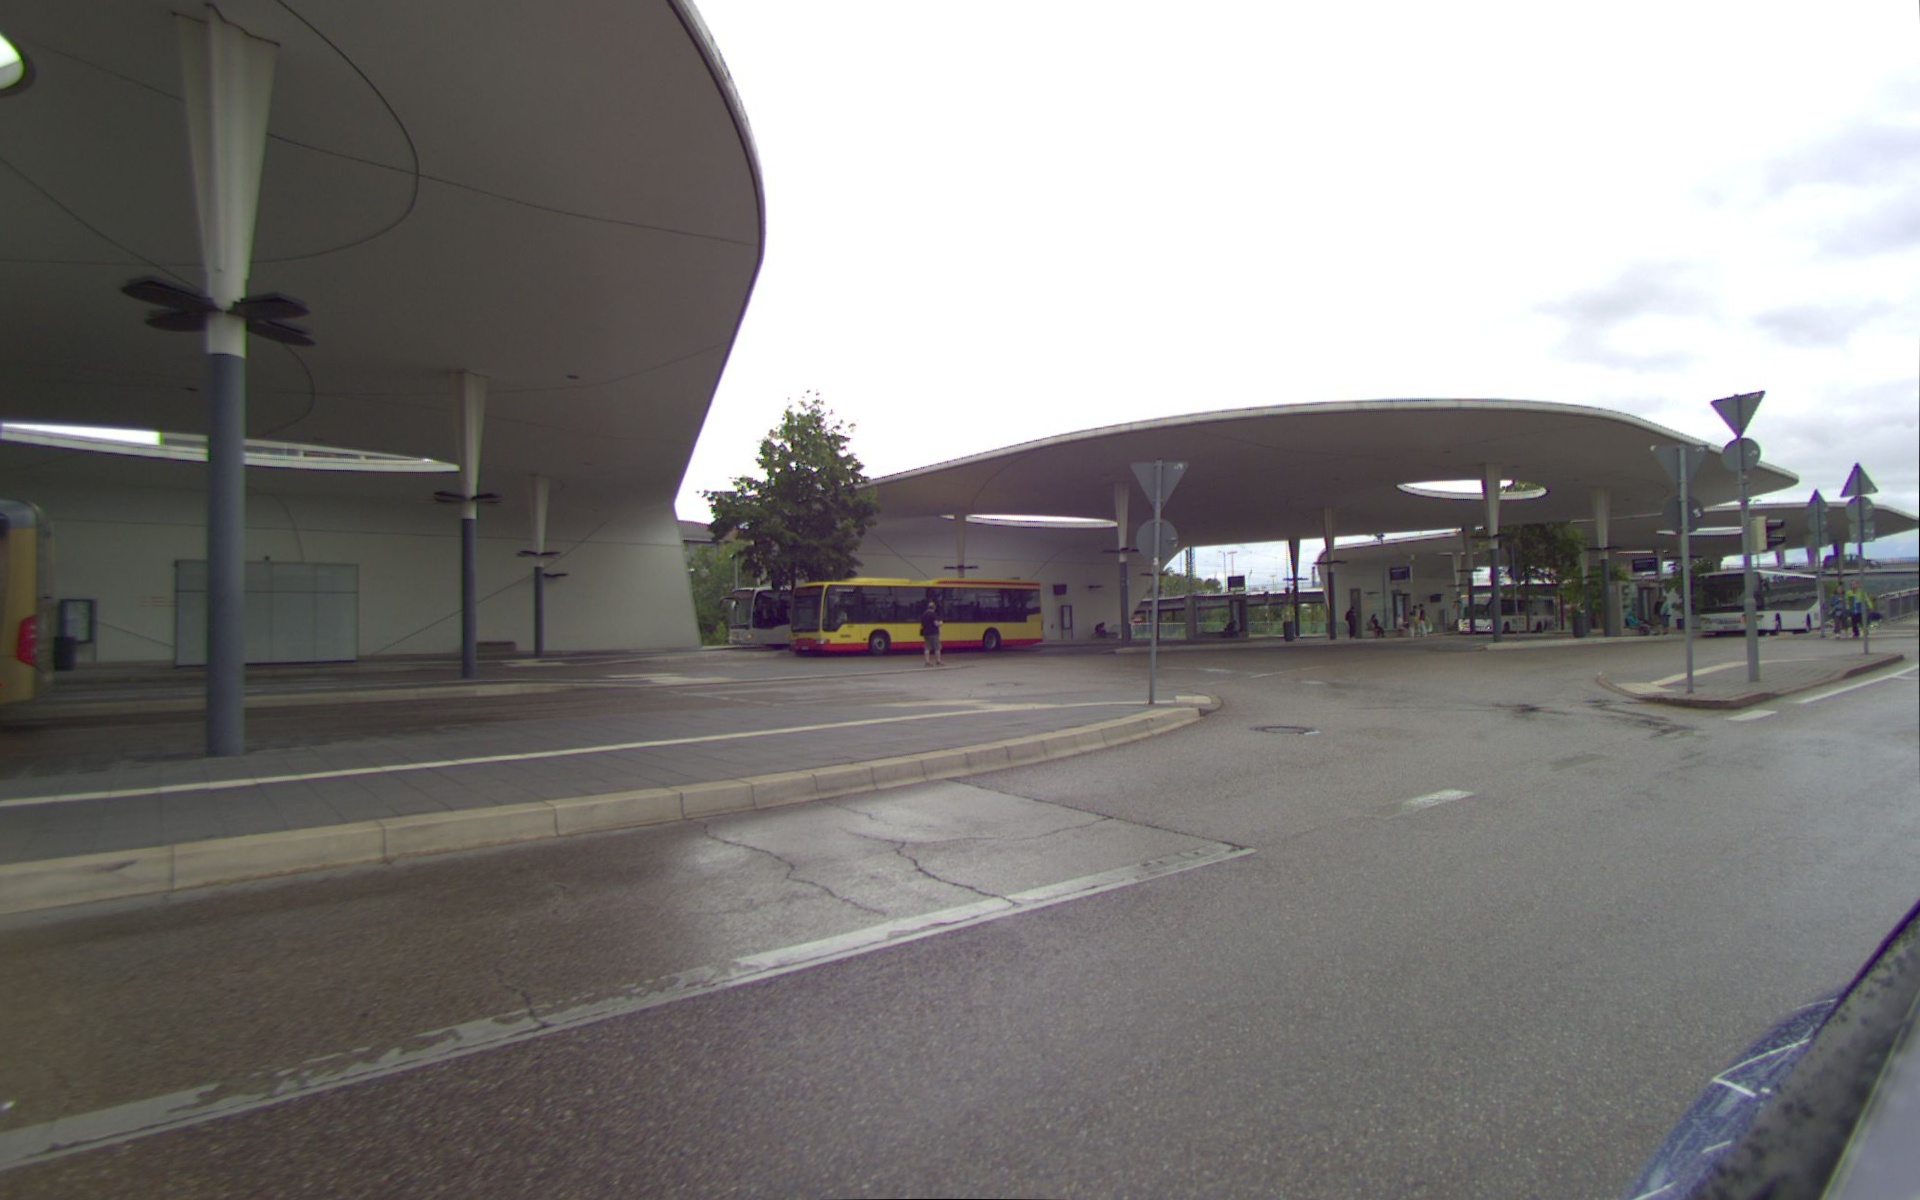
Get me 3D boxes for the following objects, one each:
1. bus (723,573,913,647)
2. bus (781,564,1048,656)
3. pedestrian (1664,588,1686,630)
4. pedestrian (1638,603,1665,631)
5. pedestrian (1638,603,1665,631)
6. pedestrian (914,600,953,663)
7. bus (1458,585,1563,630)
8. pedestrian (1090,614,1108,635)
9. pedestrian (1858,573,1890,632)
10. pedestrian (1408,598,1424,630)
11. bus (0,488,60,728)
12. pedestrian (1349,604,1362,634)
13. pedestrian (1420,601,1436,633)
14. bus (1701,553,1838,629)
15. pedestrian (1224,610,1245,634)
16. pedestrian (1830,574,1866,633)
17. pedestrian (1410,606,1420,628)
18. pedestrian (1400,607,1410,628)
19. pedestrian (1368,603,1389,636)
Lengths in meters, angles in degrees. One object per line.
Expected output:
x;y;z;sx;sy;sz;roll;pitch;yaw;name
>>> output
-6.958;0.469;51.001;9.683;3.443;2.519;0;-1;-40;bus
-1.535;0.264;42.429;11.930;3.298;2.793;-2;0;-41;bus
32.734;0.405;46.331;0.635;1.911;0.587;2;-1;-29;pedestrian
32.239;0.798;47.204;0.944;1.271;0.642;1;-1;28;pedestrian
31.871;0.780;46.643;0.944;1.271;0.642;1;-1;28;pedestrian
-0.726;0.856;27.970;0.712;1.705;1.012;0;0;26;pedestrian
42.941;0.546;78.681;11.923;3.299;2.794;-1;-1;-39;bus
9.402;1.669;68.455;0.787;1.341;0.711;-4;-2;-35;pedestrian
26.975;0.072;29.859;0.570;1.691;0.523;-3;-1;-39;pedestrian
24.408;0.735;54.154;0.546;1.676;0.571;0;-1;-33;pedestrian
-17.480;0.108;10.595;11.870;3.082;2.727;0;-1;-39;bus
19.838;0.956;50.731;0.513;1.521;0.380;-1;-1;12;pedestrian
25.390;0.915;54.880;0.633;1.676;0.637;-1;-1;12;pedestrian
40.693;-0.438;50.623;12.202;3.405;2.851;0;0;-39;bus
16.225;1.310;59.789;0.786;1.341;0.711;-4;-2;-31;pedestrian
26.579;0.099;30.287;0.570;1.691;0.590;-5;-1;-39;pedestrian
23.759;0.892;52.825;0.357;1.160;0.395;-1;-1;3;pedestrian
23.307;0.914;53.024;0.345;1.095;0.392;-1;-1;3;pedestrian
21.397;0.975;51.759;0.666;1.610;0.588;-4;-3;-43;pedestrian
